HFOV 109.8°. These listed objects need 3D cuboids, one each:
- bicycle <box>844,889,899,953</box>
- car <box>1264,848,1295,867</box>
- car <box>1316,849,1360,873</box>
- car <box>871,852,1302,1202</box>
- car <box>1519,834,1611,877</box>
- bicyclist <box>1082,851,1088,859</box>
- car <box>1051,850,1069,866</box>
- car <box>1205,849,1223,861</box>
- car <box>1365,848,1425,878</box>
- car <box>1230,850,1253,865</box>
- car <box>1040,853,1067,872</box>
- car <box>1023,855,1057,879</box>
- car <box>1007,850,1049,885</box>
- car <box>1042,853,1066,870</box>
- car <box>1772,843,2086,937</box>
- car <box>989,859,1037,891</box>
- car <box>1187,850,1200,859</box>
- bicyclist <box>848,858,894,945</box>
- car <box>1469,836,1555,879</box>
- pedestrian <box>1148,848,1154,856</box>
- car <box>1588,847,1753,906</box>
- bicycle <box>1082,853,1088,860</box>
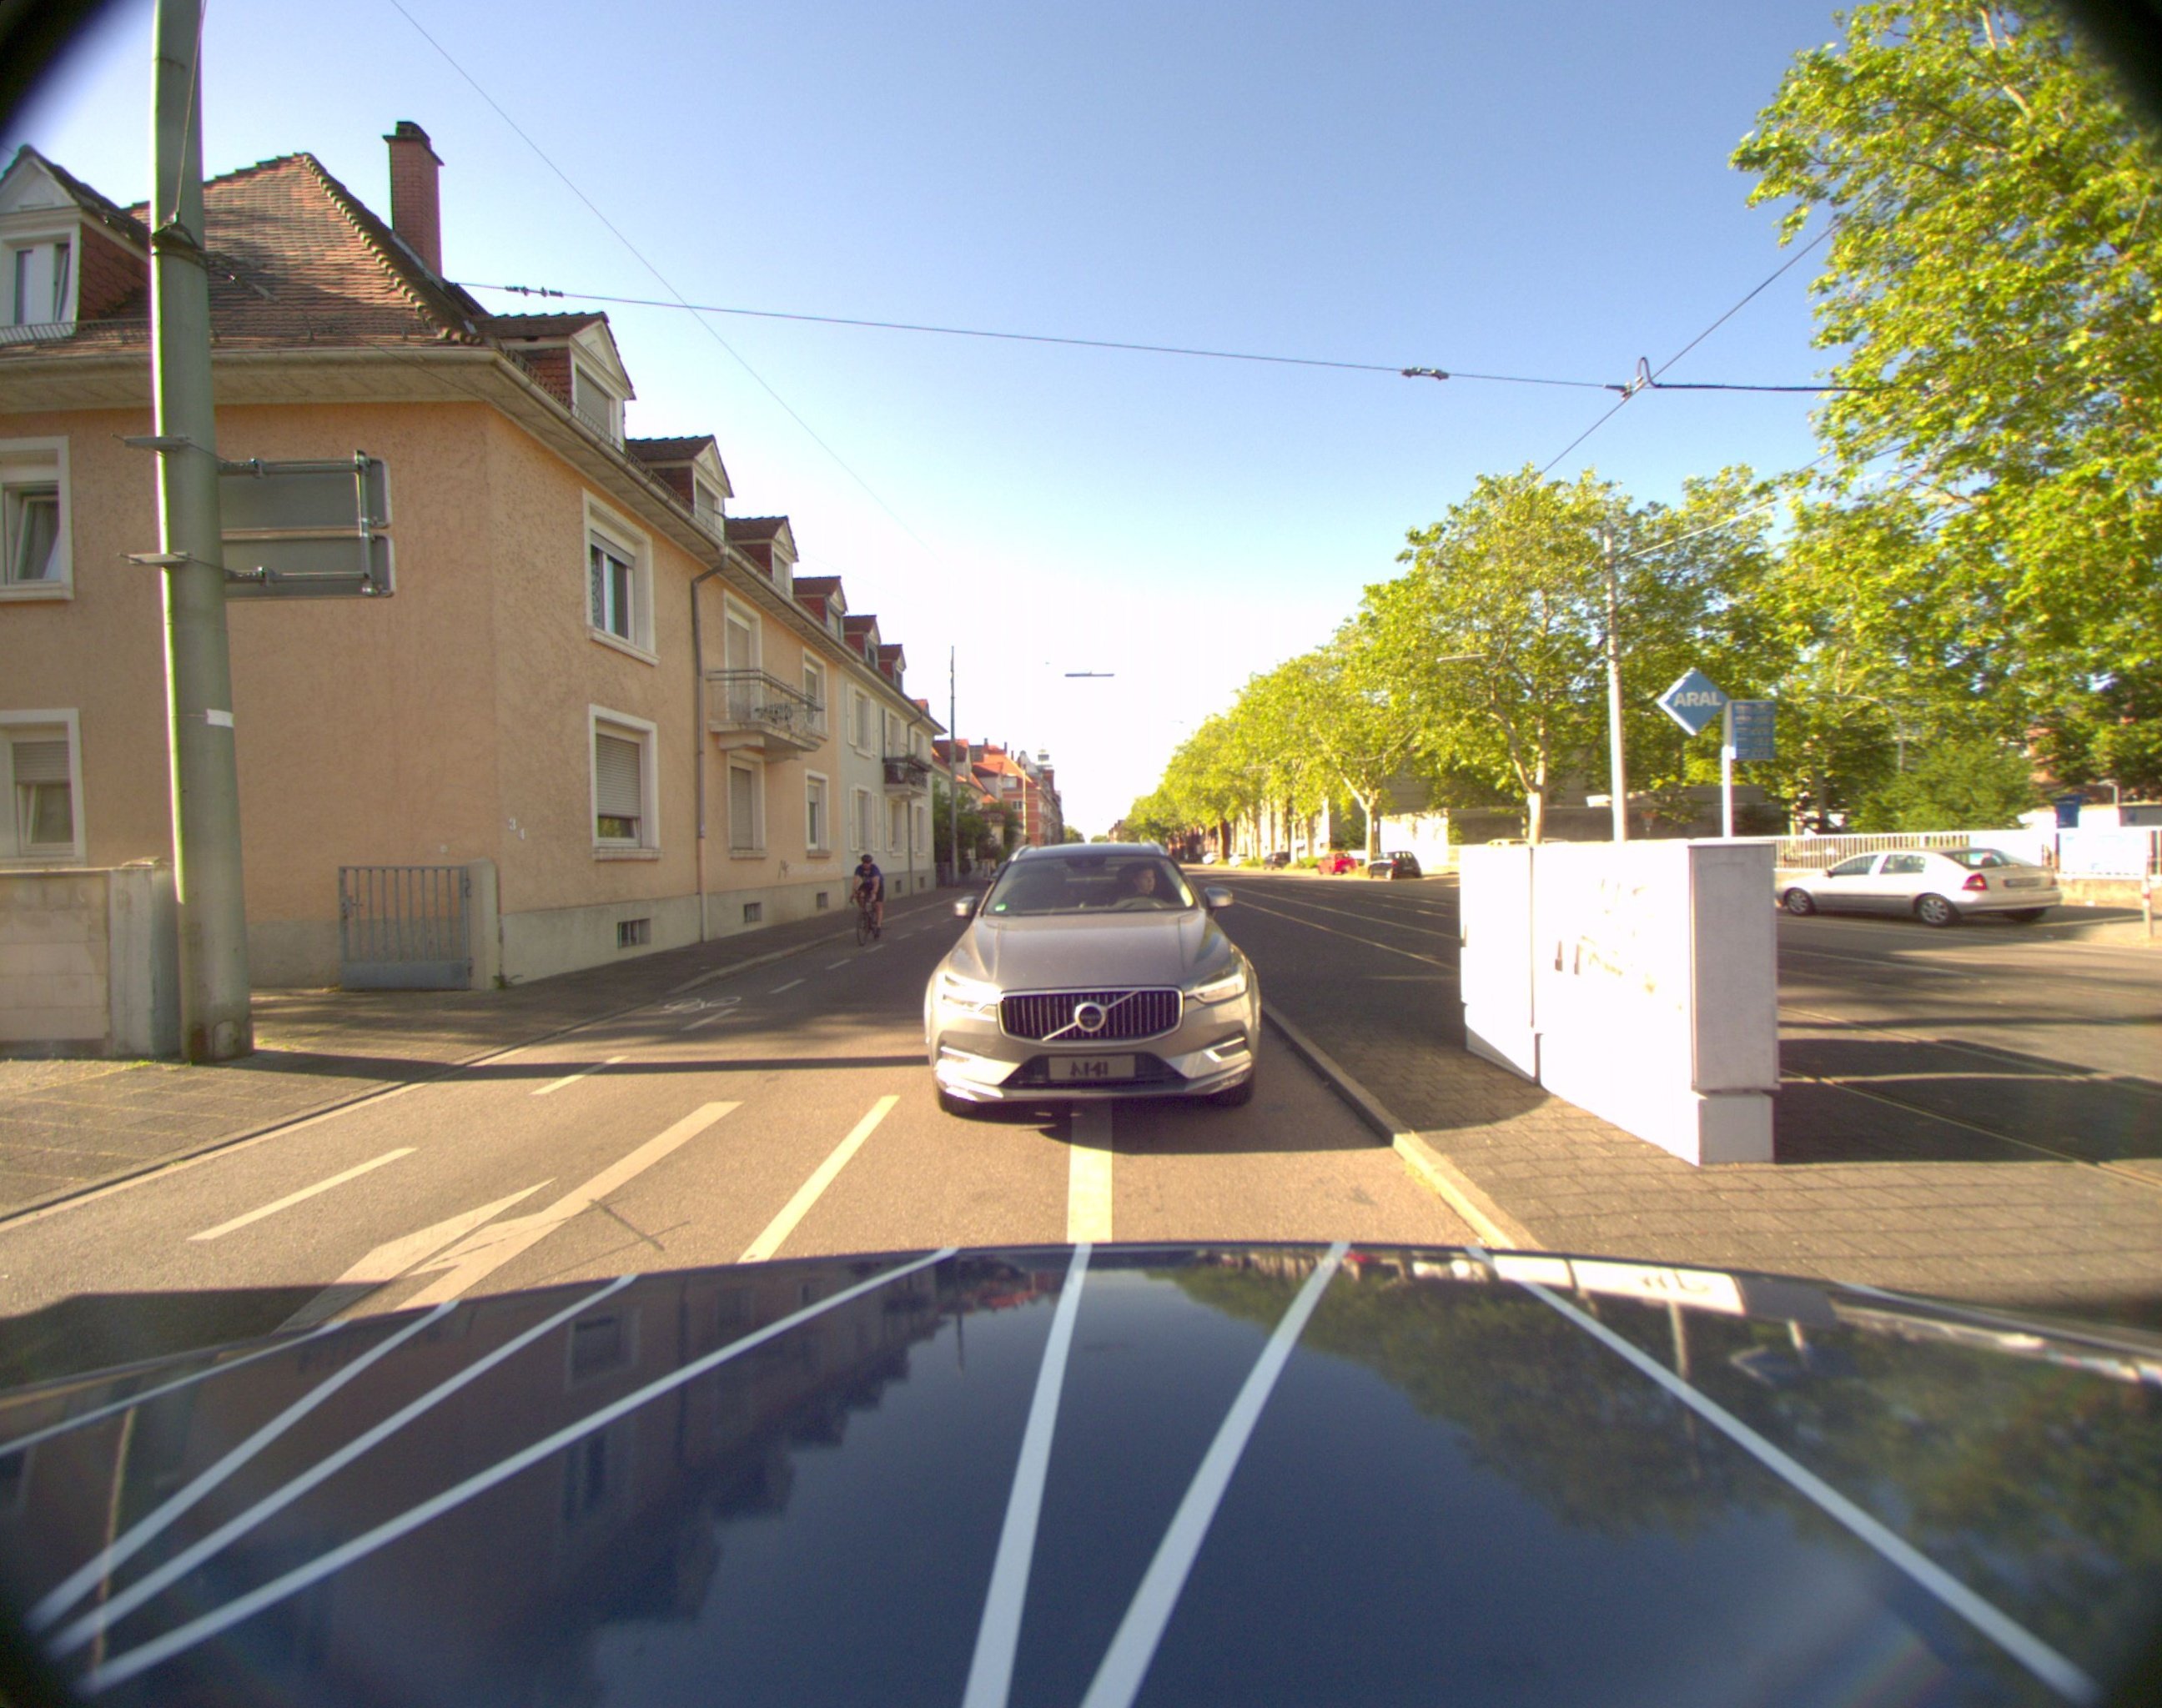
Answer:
[{"bbox_3d":[-4.023,1.261,14.697,0.550,1.056,1.794,-1,1,0],"label":"bicycle"},{"bbox_3d":[17.176,0.291,65.916,1.758,1.536,3.858,-3,0,3],"label":"car"},{"bbox_3d":[16.907,0.449,50.185,1.717,1.421,3.858,-3,0,3],"label":"car"},{"bbox_3d":[0.059,0.818,5.932,1.998,1.609,4.697,-1,0,1],"label":"car"},{"bbox_3d":[24.162,0.077,38.101,1.999,2.002,3.999,-1,0,-1],"label":"car"},{"bbox_3d":[0.802,0.150,137.078,1.054,1.496,1.250,-1,1,1],"label":"bicyclist"},{"bbox_3d":[-2.321,0.431,85.452,1.867,1.653,4.078,-1,0,1],"label":"car"},{"bbox_3d":[17.675,0.159,100.938,1.758,1.475,3.858,-3,0,3],"label":"car"},{"bbox_3d":[16.895,0.457,41.043,1.758,1.449,3.858,-3,0,3],"label":"car"},{"bbox_3d":[17.582,0.352,83.344,1.758,1.475,3.858,-3,0,3],"label":"car"},{"bbox_3d":[-2.129,0.668,60.058,1.867,1.399,4.078,-1,0,1],"label":"car"},{"bbox_3d":[-2.575,0.815,48.499,1.867,1.399,4.078,-1,0,1],"label":"car"},{"bbox_3d":[-2.910,0.703,42.832,1.867,1.778,5.297,-1,0,1],"label":"car"},{"bbox_3d":[-2.350,0.621,66.363,1.867,1.399,4.078,-1,0,1],"label":"car"},{"bbox_3d":[16.241,0.608,14.908,1.847,1.477,3.858,-4,0,2],"label":"car"},{"bbox_3d":[-3.233,0.966,37.077,1.867,1.399,4.424,-1,0,1],"label":"car"},{"bbox_3d":[18.511,0.052,125.294,1.758,1.475,3.858,-3,0,3],"label":"car"},{"bbox_3d":[-4.035,0.887,14.663,0.562,1.607,1.016,-1,1,0],"label":"bicyclist"},{"bbox_3d":[21.814,0.166,38.642,1.999,2.002,3.999,-1,0,-1],"label":"car"},{"bbox_3d":[19.598,-0.555,213.138,1.686,2.002,1.761,-1,1,1],"label":"pedestrian"},{"bbox_3d":[16.482,0.568,21.516,1.745,1.389,3.858,-4,0,3],"label":"car"},{"bbox_3d":[0.799,0.436,137.173,1.054,1.262,3.914,-1,0,1],"label":"bicycle"}]
